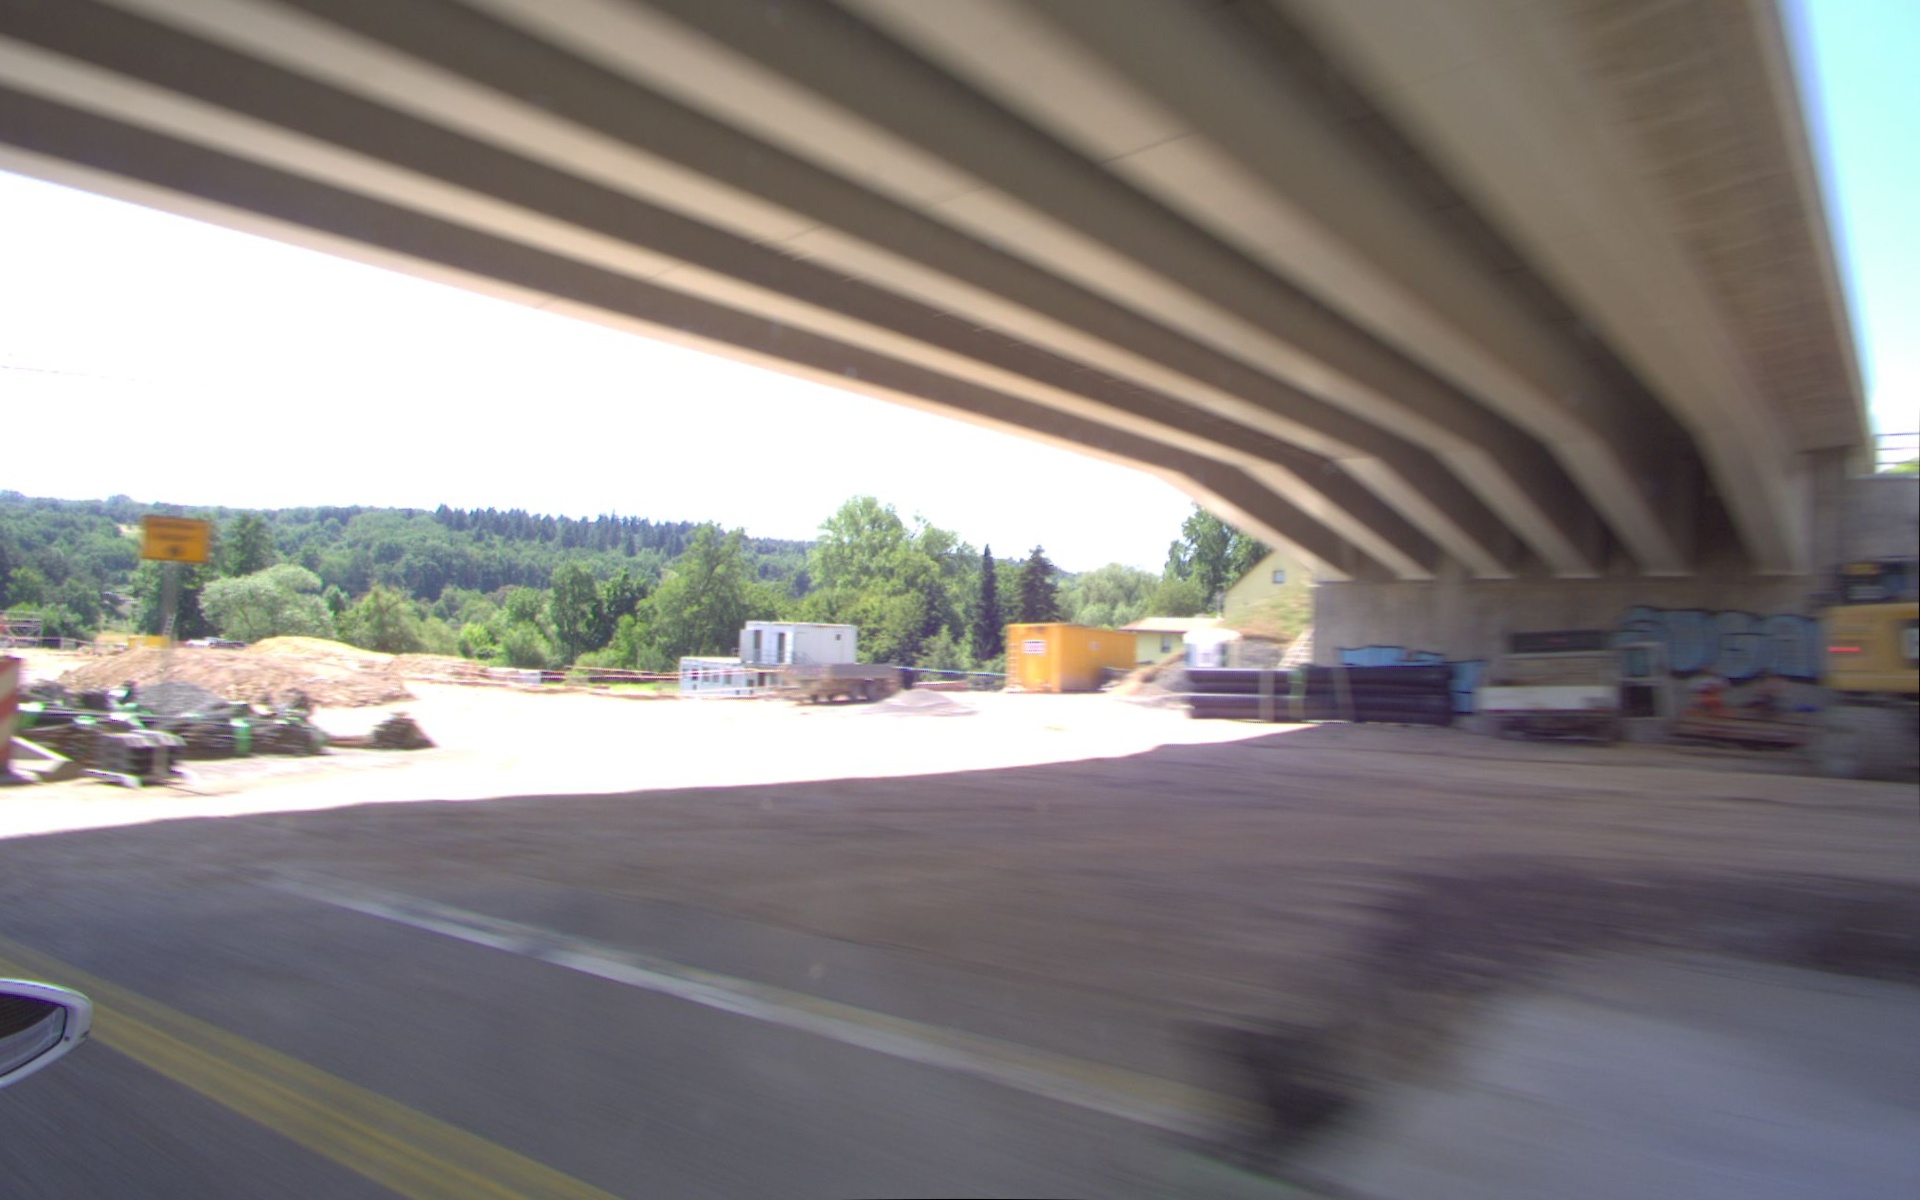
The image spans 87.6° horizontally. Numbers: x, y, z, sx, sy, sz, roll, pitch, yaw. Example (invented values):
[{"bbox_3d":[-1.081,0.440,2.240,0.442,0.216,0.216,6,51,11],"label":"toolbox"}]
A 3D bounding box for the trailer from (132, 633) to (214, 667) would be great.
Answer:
[{"bbox_3d":[-36.734,2.326,46.727,3.767,1.504,1.623,0,-3,28],"label":"trailer"}]

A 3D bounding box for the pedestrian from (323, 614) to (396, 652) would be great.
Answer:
[{"bbox_3d":[-34.471,1.903,57.501,3.942,2.038,1.991,-3,-3,31],"label":"pedestrian"}]

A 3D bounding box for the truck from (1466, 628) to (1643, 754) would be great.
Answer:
[{"bbox_3d":[12.155,1.728,20.197,2.629,2.099,6.508,-1,-4,35],"label":"truck"}]

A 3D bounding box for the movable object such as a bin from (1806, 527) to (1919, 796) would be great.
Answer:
[{"bbox_3d":[14.346,0.902,14.562,2.873,3.585,3.863,-3,-5,42],"label":"movable object such as a bin"}]

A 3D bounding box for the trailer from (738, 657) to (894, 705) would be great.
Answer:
[{"bbox_3d":[-4.146,2.352,29.575,2.027,1.234,4.707,-3,-3,31],"label":"trailer"}]
